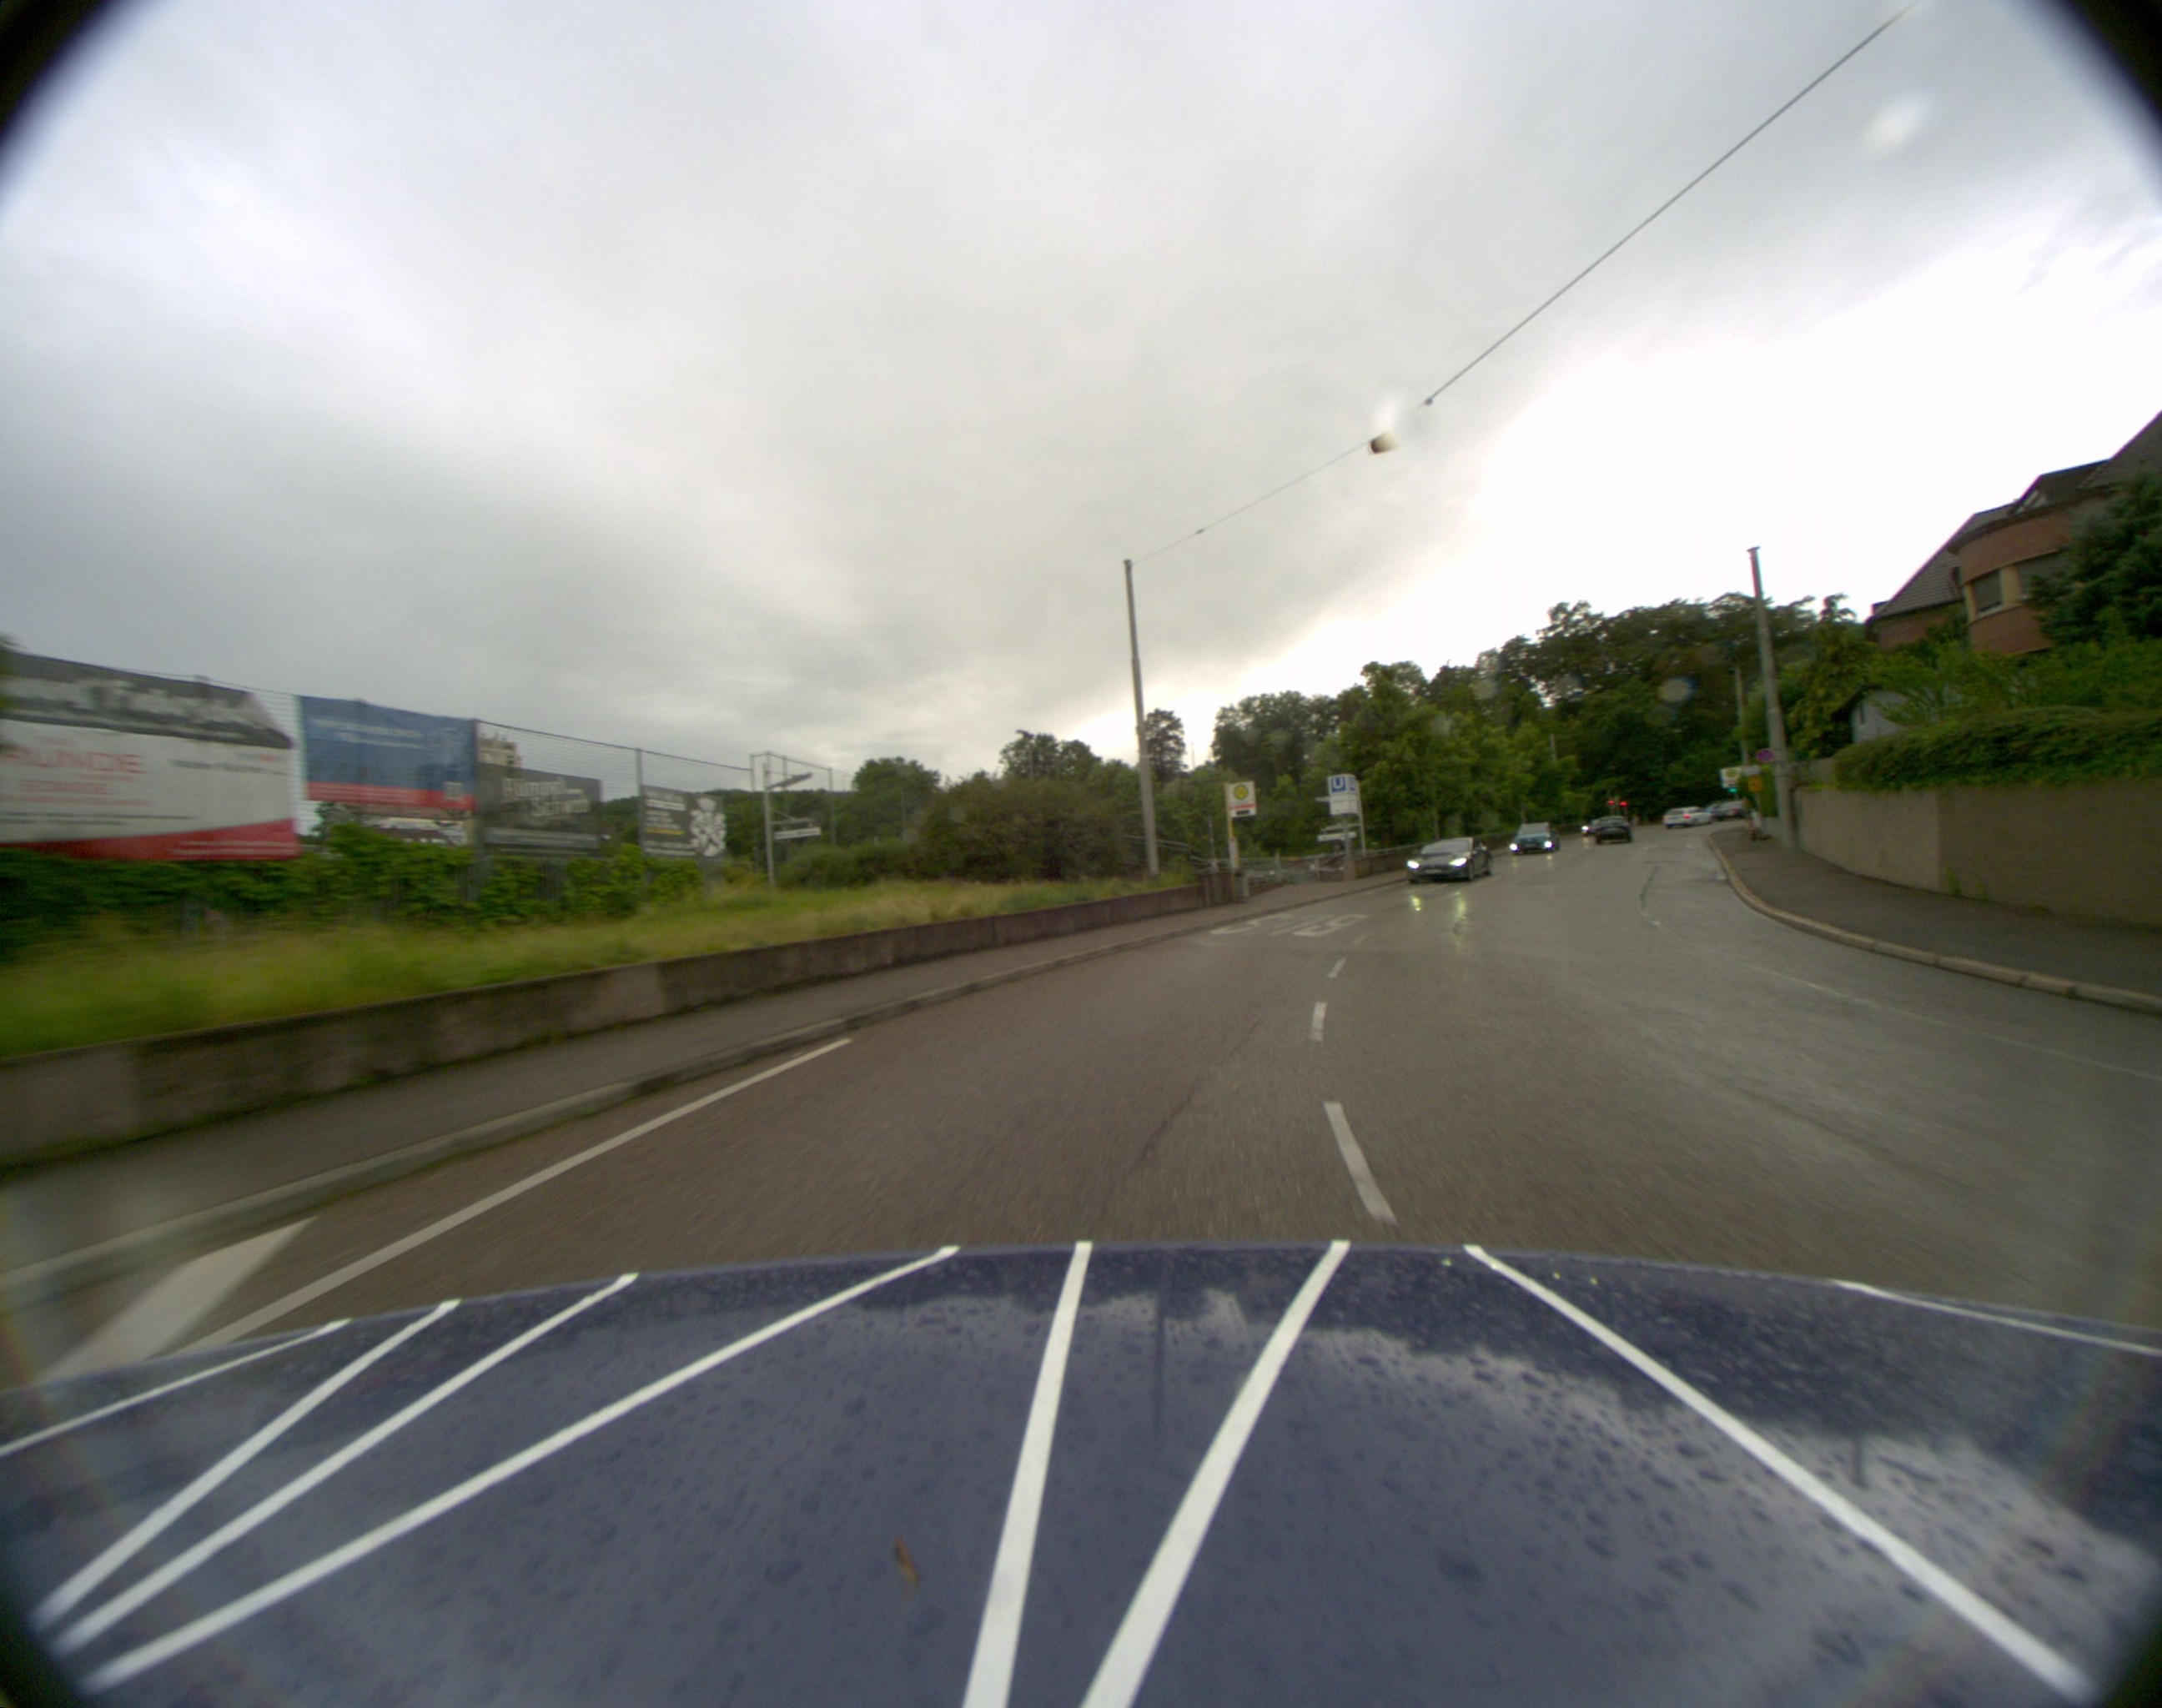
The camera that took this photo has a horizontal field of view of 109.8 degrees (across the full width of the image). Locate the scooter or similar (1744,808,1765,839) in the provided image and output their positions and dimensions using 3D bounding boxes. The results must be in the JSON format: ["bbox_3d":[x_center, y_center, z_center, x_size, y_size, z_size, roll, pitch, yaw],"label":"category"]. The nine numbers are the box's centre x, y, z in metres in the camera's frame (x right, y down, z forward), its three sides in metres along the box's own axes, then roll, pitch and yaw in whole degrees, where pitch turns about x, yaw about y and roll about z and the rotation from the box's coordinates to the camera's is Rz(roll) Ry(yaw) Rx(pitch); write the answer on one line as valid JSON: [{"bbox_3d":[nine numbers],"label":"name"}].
[{"bbox_3d":[27.022,-1.232,30.494,0.523,1.197,1.438,-3,1,39],"label":"scooter or similar"}]

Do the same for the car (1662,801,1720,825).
[{"bbox_3d":[46.293,-3.123,57.693,4.446,1.466,1.849,-5,1,-29],"label":"car"}]

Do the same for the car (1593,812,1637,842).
[{"bbox_3d":[31.117,-1.582,44.241,1.769,1.512,3.982,-4,0,38],"label":"car"}]

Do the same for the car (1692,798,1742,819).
[{"bbox_3d":[51.675,-3.683,61.828,1.861,1.387,4.602,-7,0,24],"label":"car"}]

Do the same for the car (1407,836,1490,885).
[{"bbox_3d":[12.623,0.173,25.987,1.832,1.384,4.332,-3,1,35],"label":"car"}]

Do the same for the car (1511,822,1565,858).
[{"bbox_3d":[24.193,-0.698,40.165,1.798,1.599,4.050,-7,-5,38],"label":"car"}]

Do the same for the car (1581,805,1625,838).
[{"bbox_3d":[40.767,-2.482,59.316,4.010,1.999,1.996,5,-9,-44],"label":"car"}]
